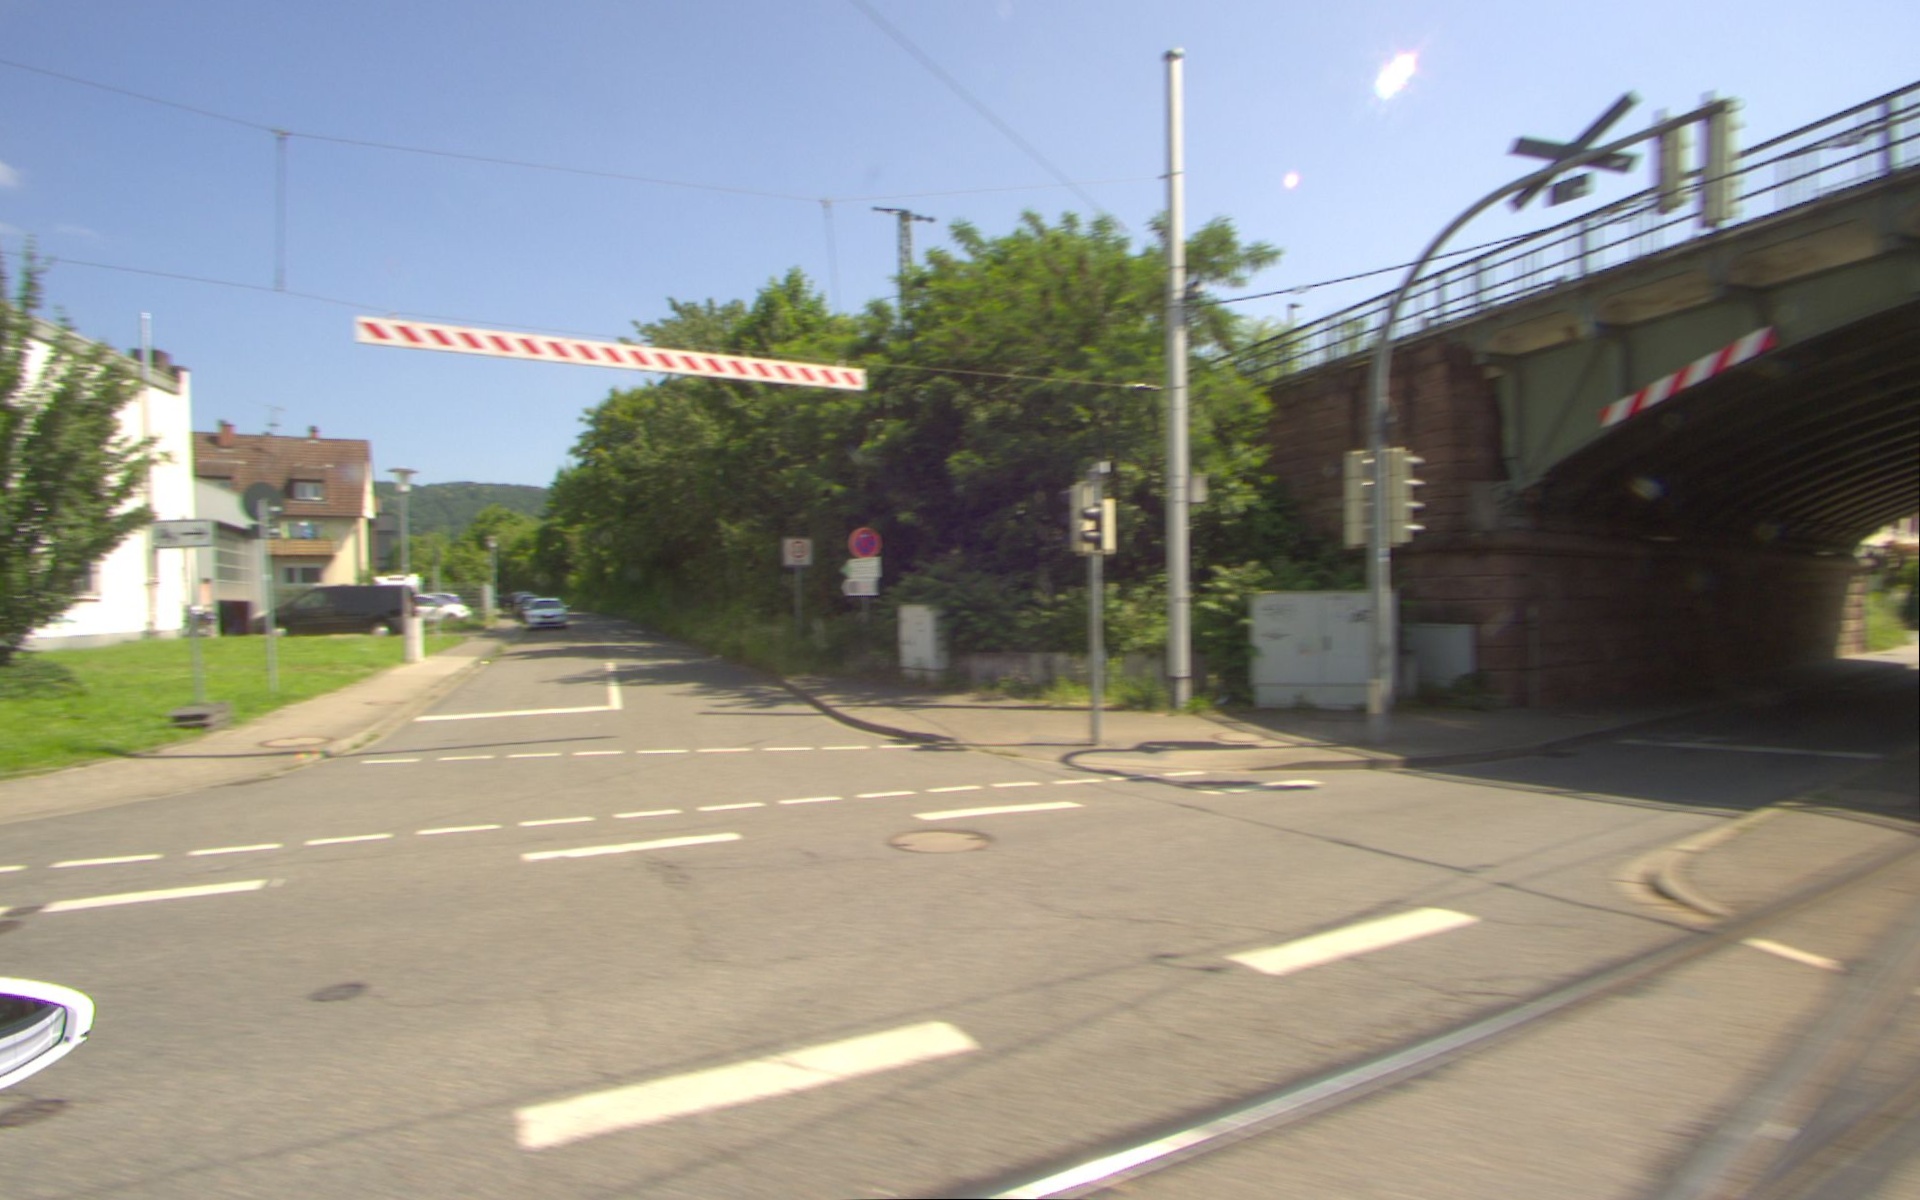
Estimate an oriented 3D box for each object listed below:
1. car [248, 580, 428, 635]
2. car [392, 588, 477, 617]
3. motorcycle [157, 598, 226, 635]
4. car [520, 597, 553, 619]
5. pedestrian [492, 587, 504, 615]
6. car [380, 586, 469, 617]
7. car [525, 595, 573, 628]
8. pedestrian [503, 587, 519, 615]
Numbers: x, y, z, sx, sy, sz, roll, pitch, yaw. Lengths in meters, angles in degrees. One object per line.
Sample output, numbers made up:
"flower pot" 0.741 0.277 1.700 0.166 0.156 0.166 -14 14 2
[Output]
"car" -22.136 0.237 35.898 5.179 1.840 1.993 -1 0 -23
"car" -27.205 0.157 51.956 3.670 1.389 1.600 2 -1 -21
"motorcycle" -23.006 0.527 30.037 0.840 1.045 2.562 1 -2 -19
"car" -28.752 0.540 68.021 1.885 1.418 3.721 1 1 -21
"pedestrian" -30.811 0.061 66.767 0.645 1.785 0.801 1 -1 -23
"car" -26.380 0.099 49.429 3.670 1.389 1.600 2 -2 -21
"car" -19.799 0.543 48.347 2.059 1.530 4.525 0 0 -22
"pedestrian" -30.094 0.080 67.118 0.864 1.785 0.729 1 -1 -23
